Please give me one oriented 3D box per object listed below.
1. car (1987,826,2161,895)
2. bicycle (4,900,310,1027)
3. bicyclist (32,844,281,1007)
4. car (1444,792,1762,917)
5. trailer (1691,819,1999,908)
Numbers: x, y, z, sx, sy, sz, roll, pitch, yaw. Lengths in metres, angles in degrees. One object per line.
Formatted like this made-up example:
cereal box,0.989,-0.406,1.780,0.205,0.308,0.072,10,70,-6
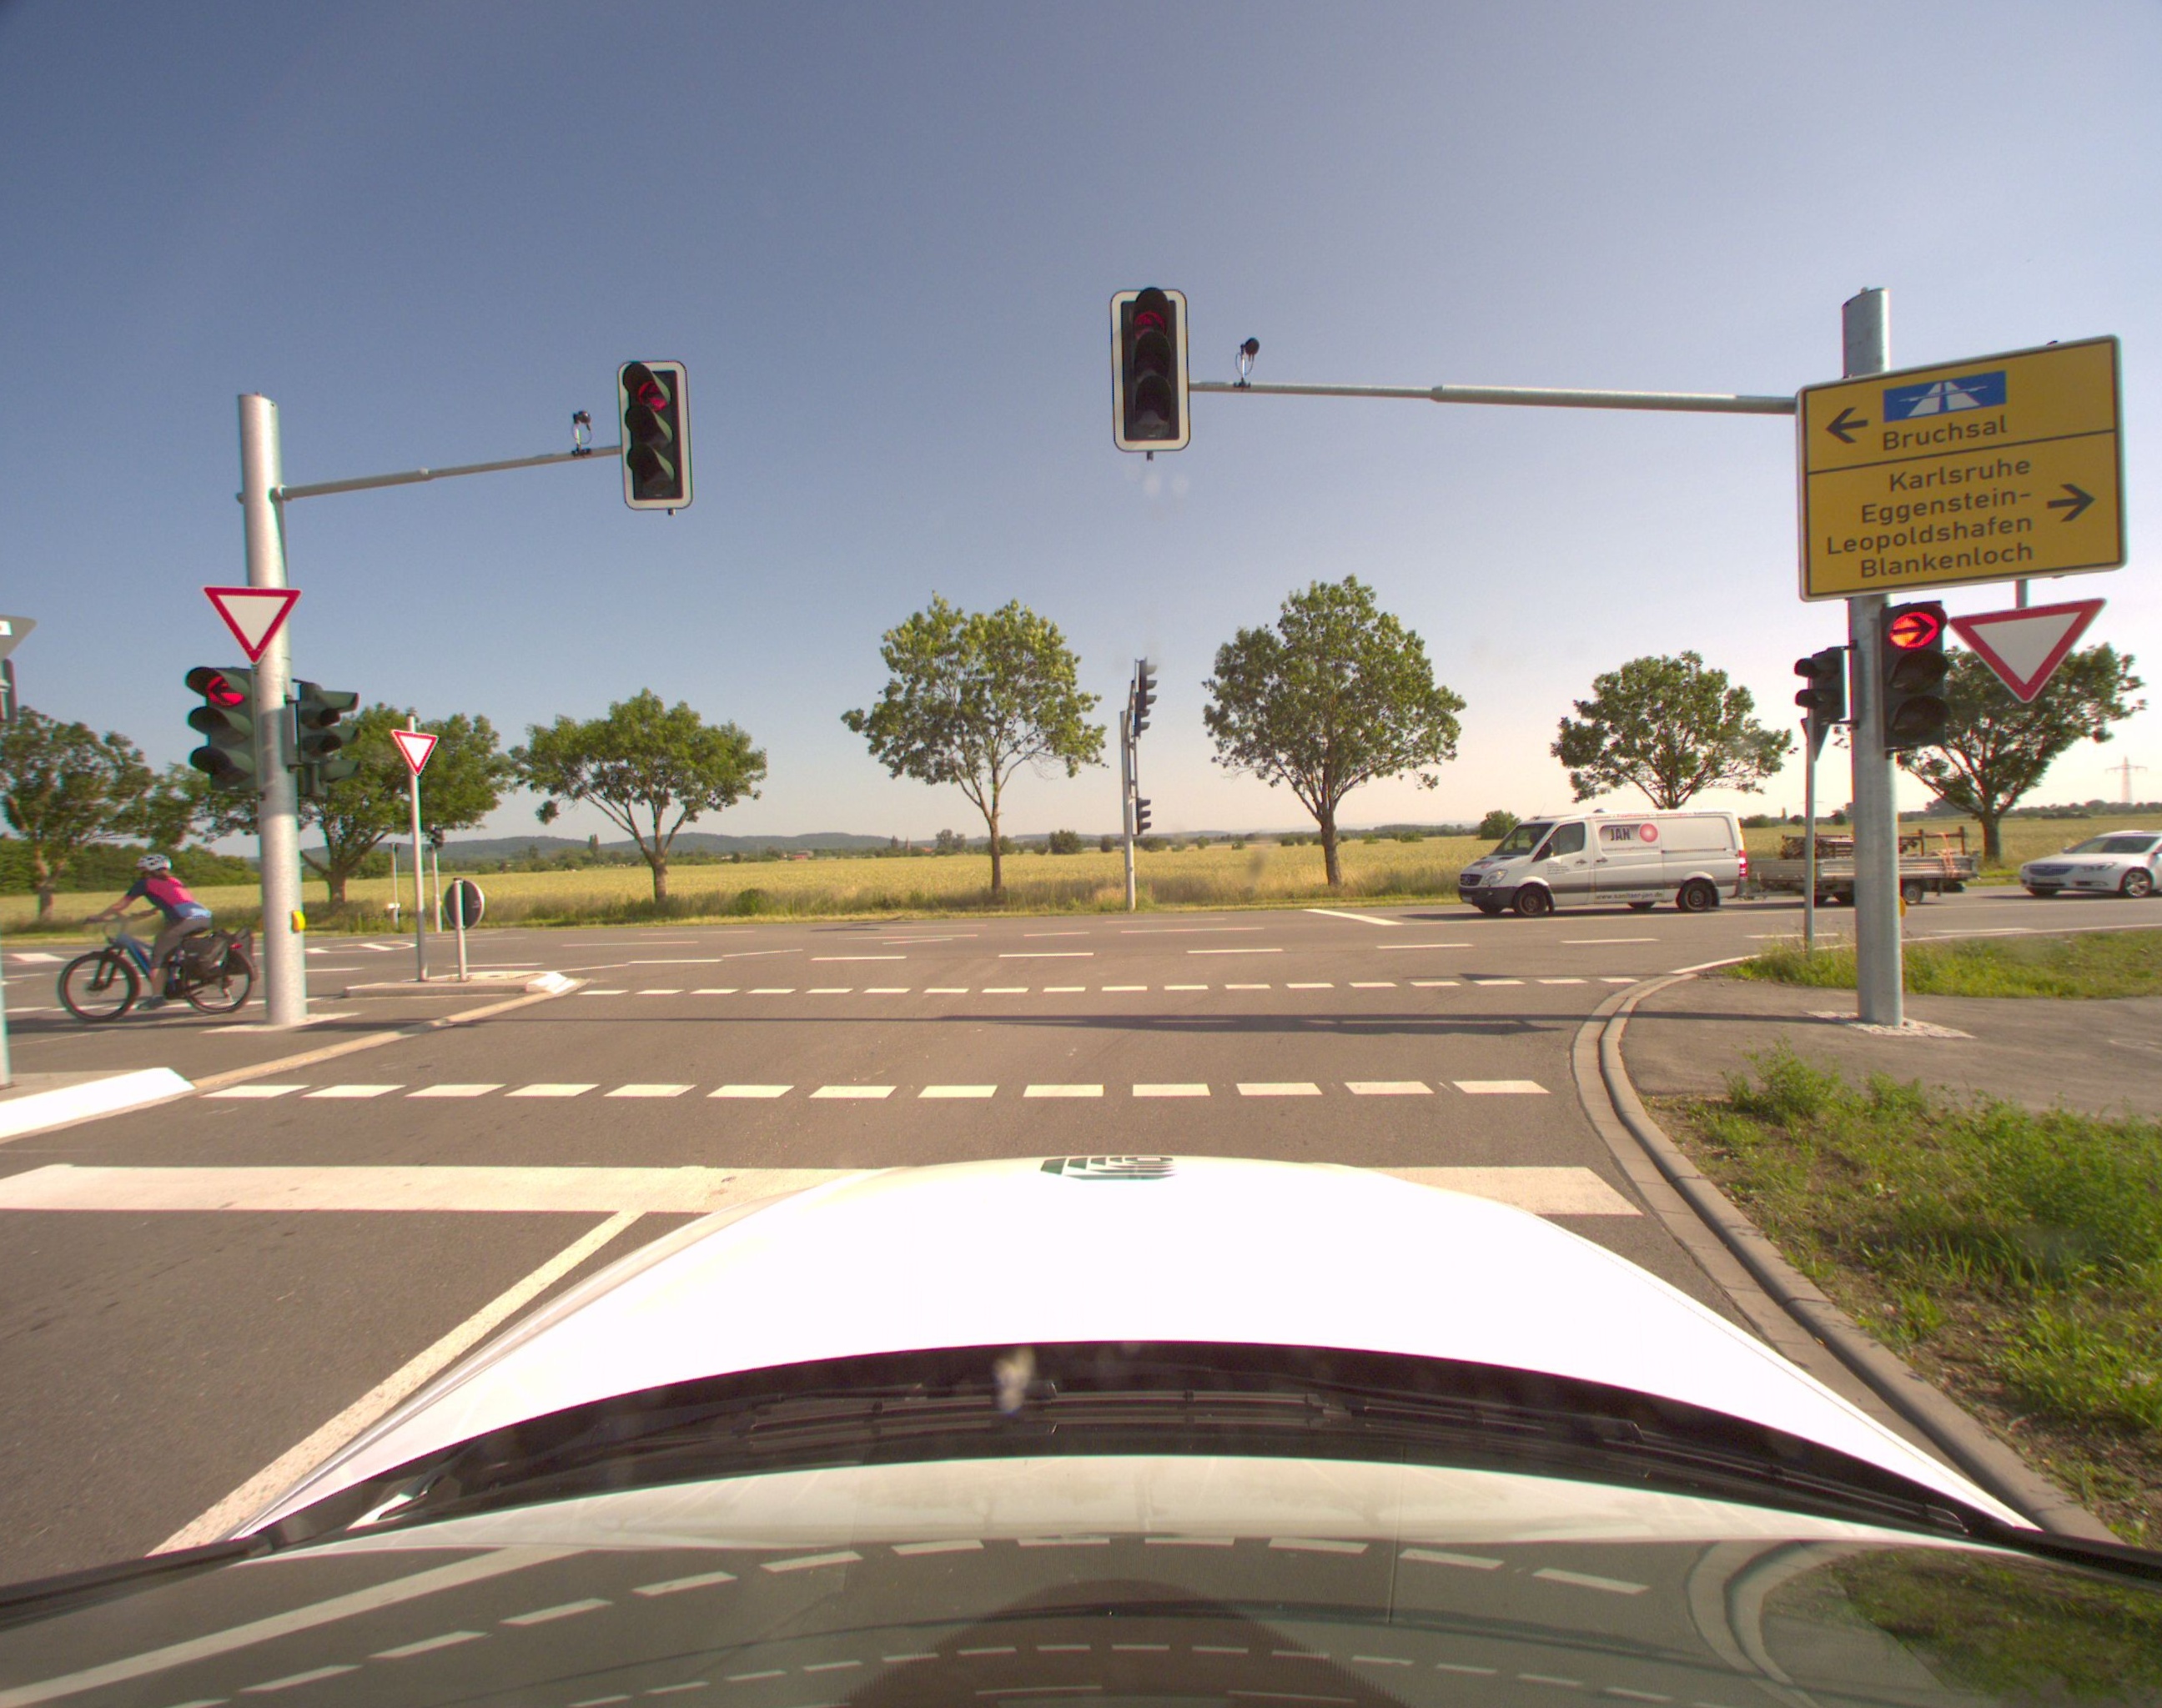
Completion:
car,24.652,0.158,19.073,4.858,1.510,1.997,0,-1,-4
bicycle,-9.816,1.135,8.739,2.151,1.186,0.889,-1,-1,-4
bicyclist,-9.861,0.708,8.769,1.276,1.601,1.164,-1,1,-3
car,11.704,0.021,18.567,5.939,2.493,1.999,-2,-1,-1
trailer,17.340,0.215,18.683,5.245,1.753,1.953,-2,-1,-1
